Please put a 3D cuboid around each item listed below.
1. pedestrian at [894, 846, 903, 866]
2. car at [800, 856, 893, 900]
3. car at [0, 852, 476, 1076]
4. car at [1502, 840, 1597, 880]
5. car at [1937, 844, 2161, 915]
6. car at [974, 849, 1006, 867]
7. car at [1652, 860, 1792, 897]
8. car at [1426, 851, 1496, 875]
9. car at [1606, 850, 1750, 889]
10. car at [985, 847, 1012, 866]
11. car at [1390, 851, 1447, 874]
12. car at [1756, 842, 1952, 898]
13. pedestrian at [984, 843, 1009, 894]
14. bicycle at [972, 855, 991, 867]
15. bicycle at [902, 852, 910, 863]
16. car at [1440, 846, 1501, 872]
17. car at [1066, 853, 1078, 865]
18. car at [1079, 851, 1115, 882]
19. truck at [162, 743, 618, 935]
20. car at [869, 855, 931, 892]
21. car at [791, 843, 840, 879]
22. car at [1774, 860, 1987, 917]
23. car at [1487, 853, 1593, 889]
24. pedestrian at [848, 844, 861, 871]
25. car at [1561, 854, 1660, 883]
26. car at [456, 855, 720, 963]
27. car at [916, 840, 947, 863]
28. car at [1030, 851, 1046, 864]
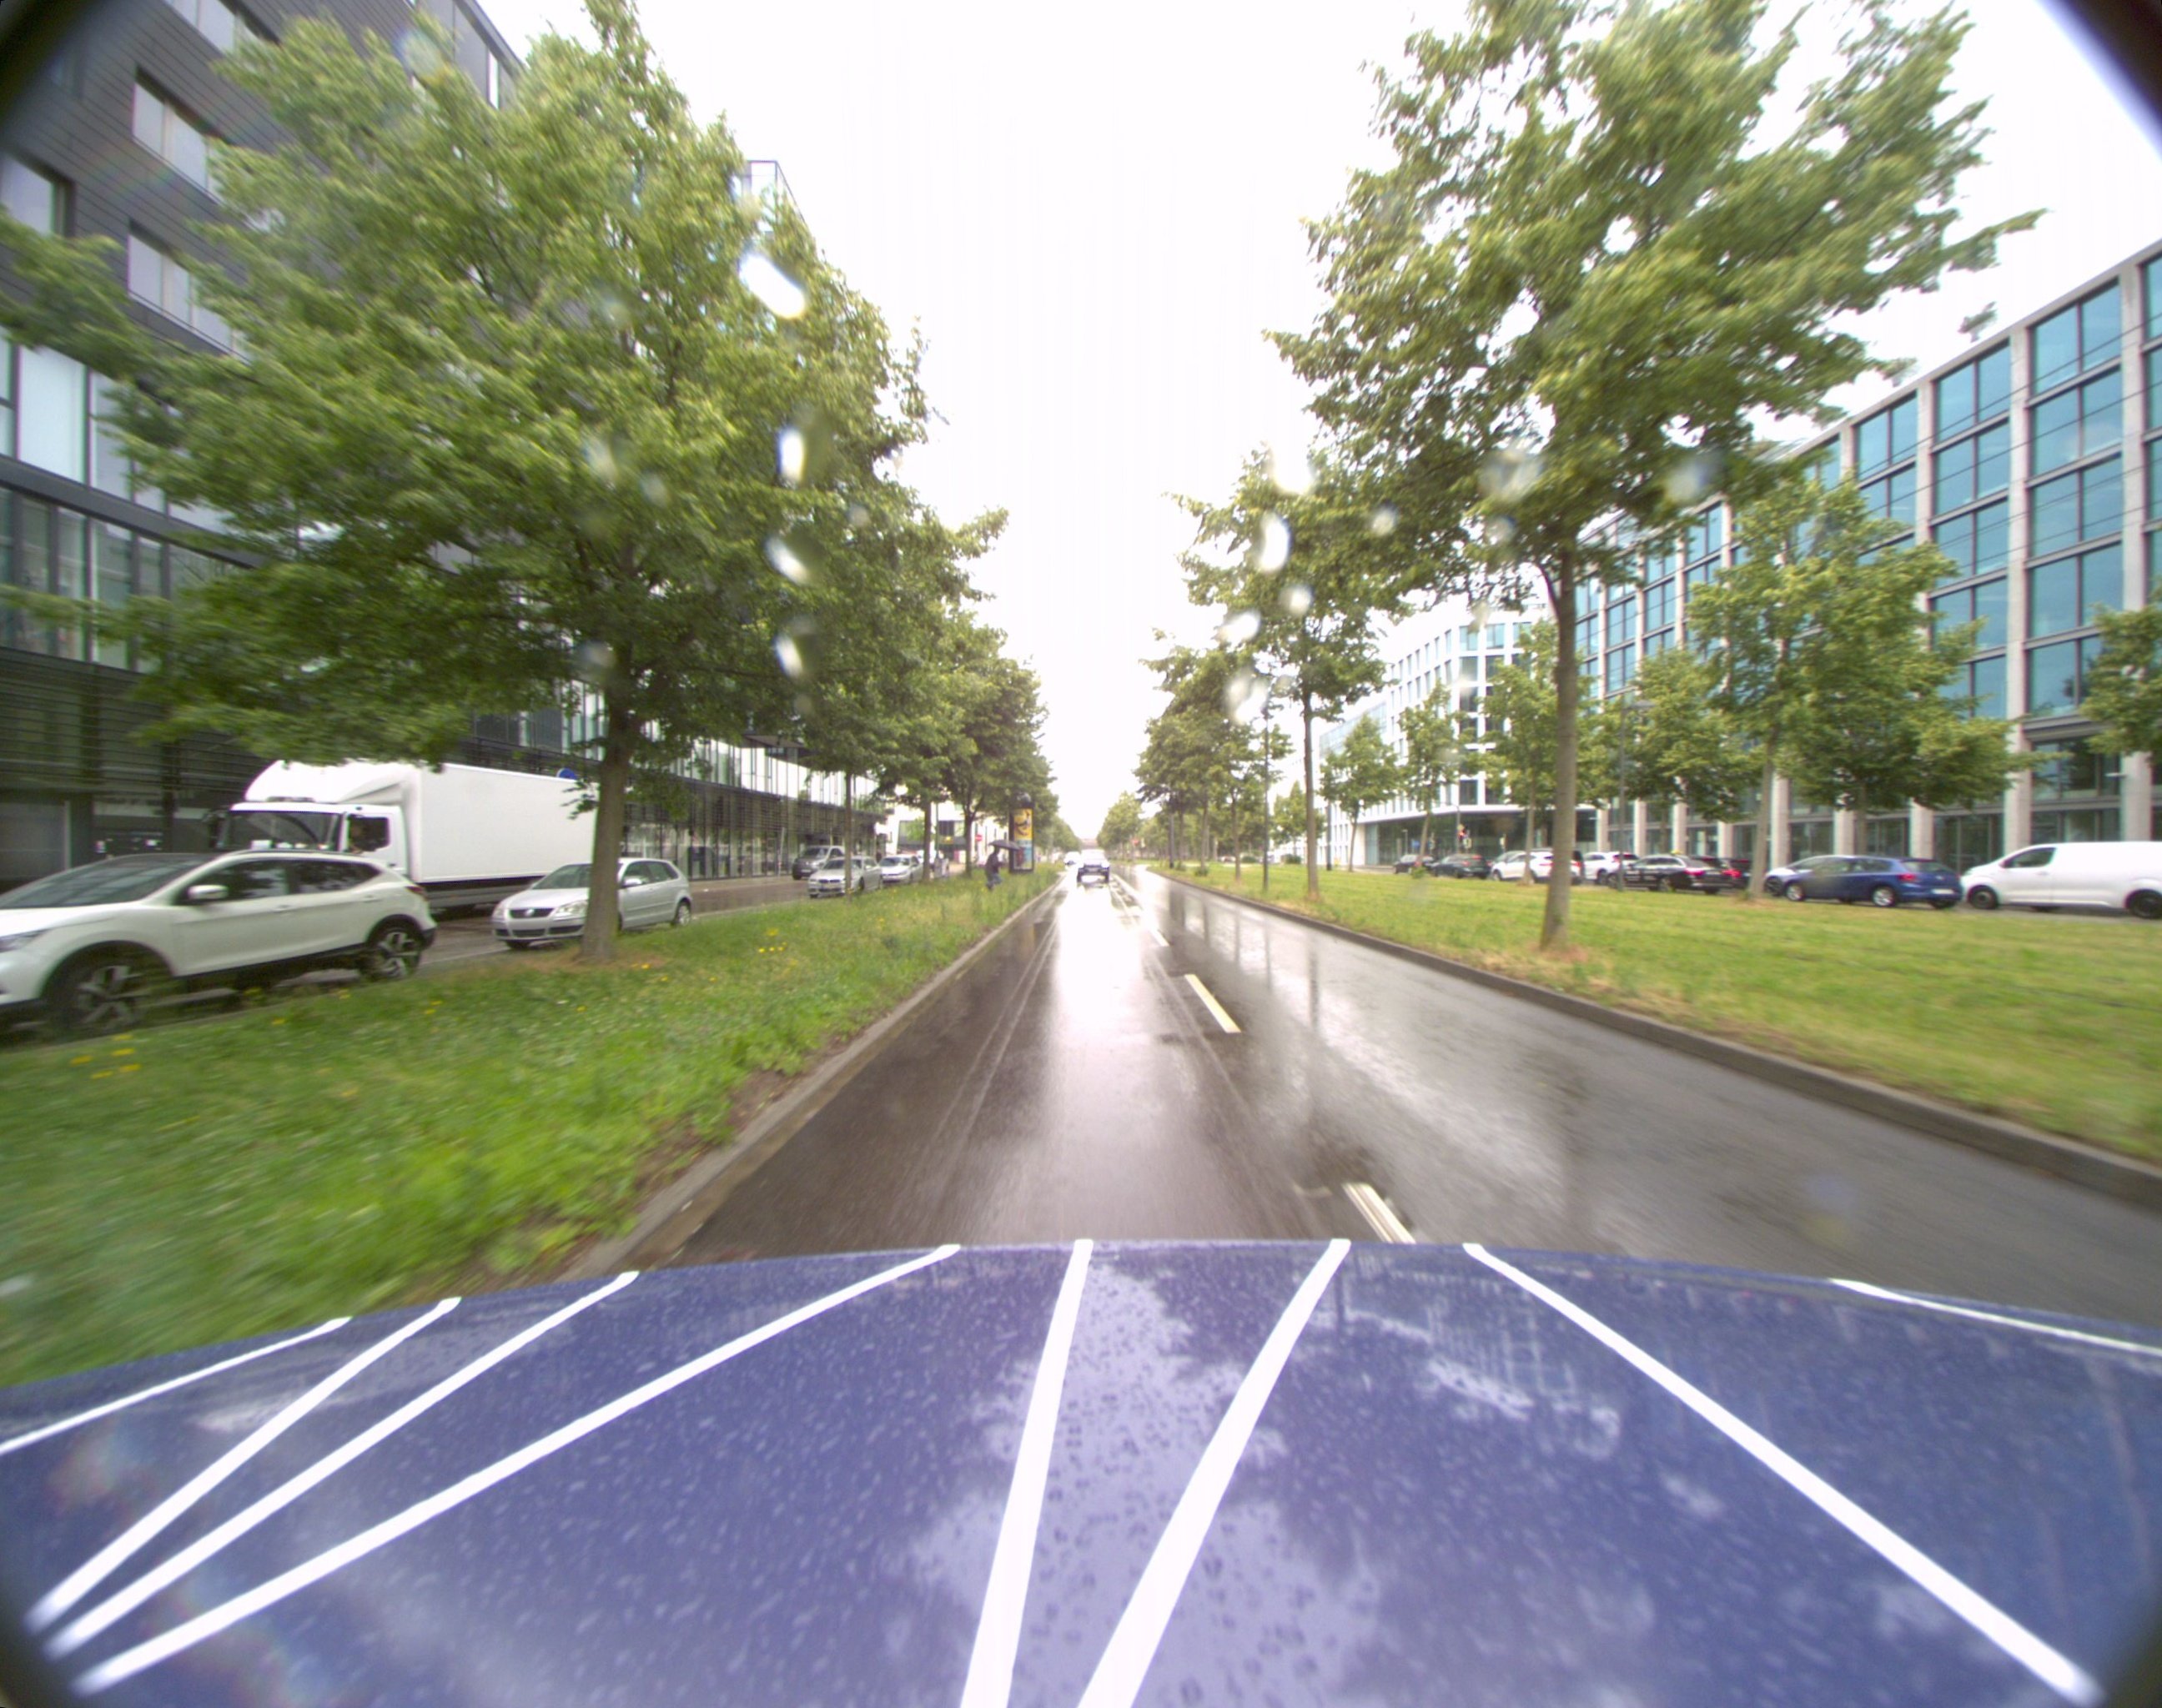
[{"bbox_3d":[-15.470,0.177,64.557,0.627,1.695,0.657,0,-1,-4],"label":"pedestrian"},{"bbox_3d":[-8.647,0.813,28.508,1.999,1.436,5.235,-1,1,-2],"label":"car"},{"bbox_3d":[-9.034,0.850,7.658,1.998,1.659,4.723,-2,0,1],"label":"car"},{"bbox_3d":[23.087,0.294,37.690,1.955,1.837,4.544,0,0,1],"label":"car"},{"bbox_3d":[26.023,0.646,19.683,1.956,1.641,5.030,0,-2,-1],"label":"car"},{"bbox_3d":[-7.784,0.318,65.235,1.998,1.446,4.959,0,0,1],"label":"car"},{"bbox_3d":[26.577,1.019,31.761,1.863,1.437,4.626,0,-2,-1],"label":"car"},{"bbox_3d":[22.642,0.588,45.475,1.956,1.377,4.474,0,-2,0],"label":"car"},{"bbox_3d":[22.910,0.608,29.422,1.955,1.377,4.606,0,-2,0],"label":"car"},{"bbox_3d":[-7.704,0.269,71.444,1.998,1.697,4.219,0,-2,0],"label":"car"},{"bbox_3d":[23.294,0.588,52.599,1.955,1.549,4.464,0,-1,1],"label":"car"},{"bbox_3d":[26.240,0.573,26.078,1.956,1.735,4.634,0,-2,-1],"label":"car"},{"bbox_3d":[-2.496,0.423,22.482,0.643,1.484,0.700,-1,1,-1],"label":"pedestrian"},{"bbox_3d":[-7.534,0.545,57.369,1.458,0.911,0.434,-1,-2,33],"label":"bicycle"},{"bbox_3d":[-14.881,0.278,64.639,0.437,0.892,1.232,0,-1,-3],"label":"bicycle"},{"bbox_3d":[26.432,0.275,51.754,1.956,1.684,4.271,0,1,0],"label":"car"},{"bbox_3d":[-1.282,0.743,108.017,1.687,1.520,3.970,0,-2,-1],"label":"car"},{"bbox_3d":[0.944,0.665,42.810,1.928,1.651,4.716,0,1,2],"label":"car"},{"bbox_3d":[-15.004,-0.303,17.935,3.032,3.421,8.545,-1,1,-2],"label":"truck"},{"bbox_3d":[-8.170,0.895,34.704,1.765,1.586,4.102,0,-2,1],"label":"car"},{"bbox_3d":[-14.980,0.369,43.121,2.001,1.909,5.143,-1,1,-13],"label":"car"},{"bbox_3d":[22.929,0.957,22.053,1.956,1.485,3.963,0,-2,-1],"label":"car"},{"bbox_3d":[20.000,0.698,33.375,1.955,1.444,4.575,-1,1,1],"label":"car"},{"bbox_3d":[-14.537,0.231,48.745,0.581,1.729,0.803,-1,-1,-1],"label":"pedestrian"},{"bbox_3d":[26.477,0.758,38.211,1.956,1.377,4.273,0,-2,-1],"label":"car"},{"bbox_3d":[-8.708,0.849,14.055,1.774,1.444,4.721,-4,1,-1],"label":"car"},{"bbox_3d":[-12.985,-0.209,66.309,1.898,1.855,4.723,0,0,-2],"label":"car"},{"bbox_3d":[-6.393,0.540,112.674,1.998,1.697,4.840,0,-2,0],"label":"car"}]
